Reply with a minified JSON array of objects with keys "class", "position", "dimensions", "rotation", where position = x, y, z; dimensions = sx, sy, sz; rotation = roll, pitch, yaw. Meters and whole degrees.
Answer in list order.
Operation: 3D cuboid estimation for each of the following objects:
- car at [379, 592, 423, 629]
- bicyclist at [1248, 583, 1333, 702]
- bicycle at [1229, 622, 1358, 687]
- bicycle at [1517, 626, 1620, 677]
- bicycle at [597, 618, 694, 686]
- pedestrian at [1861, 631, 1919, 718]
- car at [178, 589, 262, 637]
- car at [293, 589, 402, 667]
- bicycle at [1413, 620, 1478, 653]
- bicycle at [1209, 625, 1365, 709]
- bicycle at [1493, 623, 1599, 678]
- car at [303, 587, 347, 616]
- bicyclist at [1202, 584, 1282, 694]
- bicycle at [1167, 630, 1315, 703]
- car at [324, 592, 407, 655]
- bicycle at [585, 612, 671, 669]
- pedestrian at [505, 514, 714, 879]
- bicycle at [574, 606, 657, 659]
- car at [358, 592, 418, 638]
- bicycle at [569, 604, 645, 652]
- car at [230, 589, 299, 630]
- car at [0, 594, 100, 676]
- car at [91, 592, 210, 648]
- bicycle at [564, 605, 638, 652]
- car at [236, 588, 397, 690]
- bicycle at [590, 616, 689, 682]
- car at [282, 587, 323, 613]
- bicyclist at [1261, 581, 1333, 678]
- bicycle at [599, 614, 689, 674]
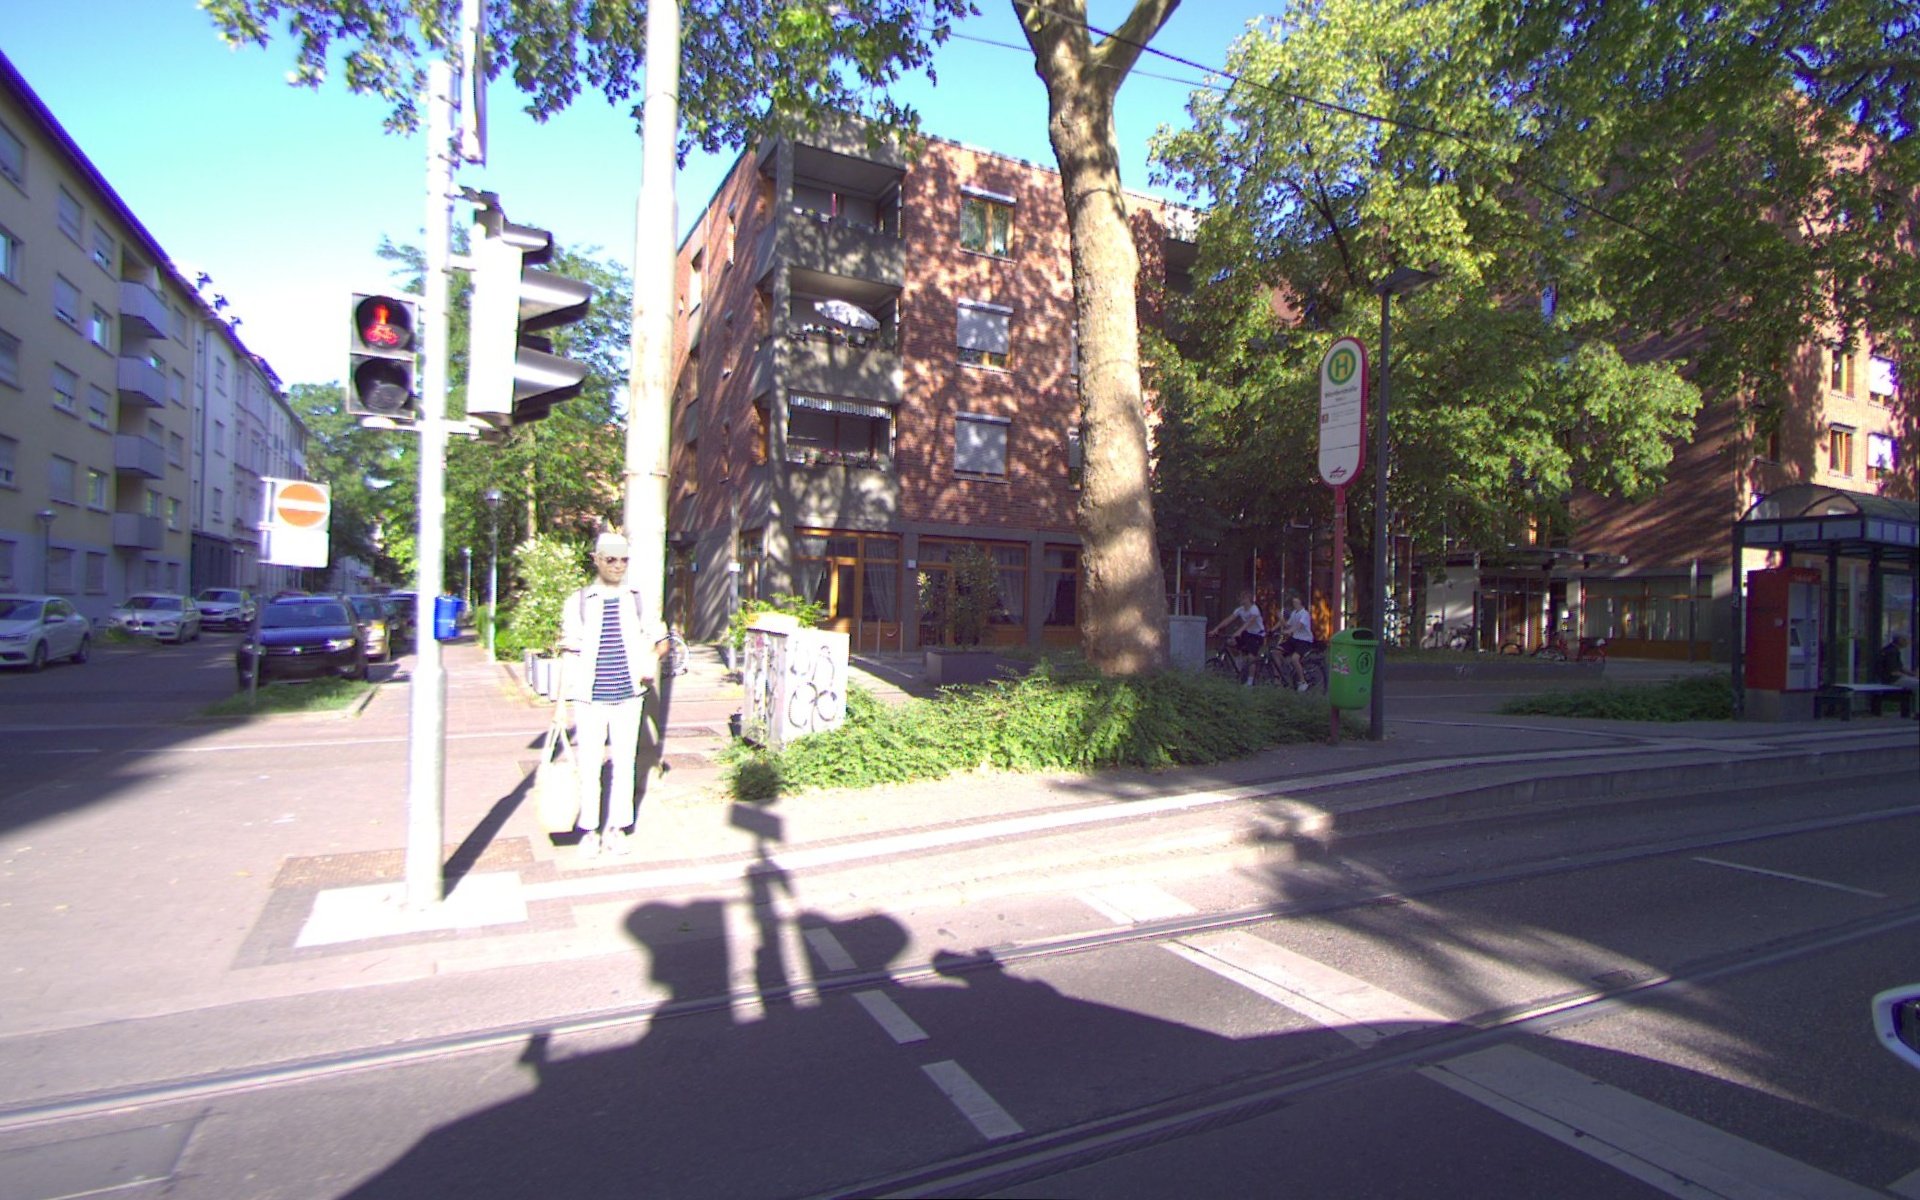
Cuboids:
[{"class":"car","position":[-28.397,0.512,51.122],"dimensions":[1.801,1.728,3.971],"rotation":[2,0,-28]},{"class":"bicyclist","position":[5.135,0.653,15.640],"dimensions":[0.940,1.786,0.778],"rotation":[2,0,-30]},{"class":"bicycle","position":[6.282,1.026,18.850],"dimensions":[2.566,1.125,0.778],"rotation":[2,0,-31]},{"class":"bicycle","position":[16.231,1.355,26.886],"dimensions":[0.673,1.182,2.332],"rotation":[2,1,-26]},{"class":"bicycle","position":[-5.435,0.880,17.395],"dimensions":[1.518,1.099,0.539],"rotation":[-1,2,-29]},{"class":"pedestrian","position":[13.260,1.041,14.146],"dimensions":[0.652,1.184,0.702],"rotation":[2,-2,-30]},{"class":"car","position":[-28.508,0.466,38.812],"dimensions":[1.975,1.706,3.971],"rotation":[2,0,-28]},{"class":"car","position":[-14.635,0.635,24.207],"dimensions":[1.936,1.684,3.971],"rotation":[2,-1,-28]},{"class":"bicycle","position":[17.330,1.296,35.885],"dimensions":[0.760,1.087,1.921],"rotation":[2,0,-43]},{"class":"bicycle","position":[5.118,1.029,15.641],"dimensions":[2.566,1.207,0.778],"rotation":[2,0,-31]},{"class":"bicycle","position":[15.562,1.319,26.765],"dimensions":[0.673,1.235,2.449],"rotation":[2,1,-26]},{"class":"car","position":[-40.831,0.066,64.664],"dimensions":[1.975,1.706,3.971],"rotation":[2,0,-28]},{"class":"bicyclist","position":[4.688,0.639,16.725],"dimensions":[0.986,1.773,0.771],"rotation":[2,0,-30]},{"class":"bicycle","position":[4.709,1.097,16.755],"dimensions":[2.566,1.125,0.778],"rotation":[2,0,-31]},{"class":"car","position":[-17.423,0.648,29.572],"dimensions":[1.845,1.684,3.971],"rotation":[2,0,-28]},{"class":"bicycle","position":[-6.842,0.813,20.707],"dimensions":[1.618,1.099,0.539],"rotation":[-1,2,-29]},{"class":"pedestrian","position":[-2.022,0.497,5.745],"dimensions":[0.910,1.860,0.919],"rotation":[2,0,-31]},{"class":"bicycle","position":[-7.390,0.684,21.589],"dimensions":[1.619,1.099,0.539],"rotation":[1,0,-29]},{"class":"car","position":[-22.023,0.548,38.805],"dimensions":[1.815,1.639,3.971],"rotation":[2,0,-28]},{"class":"bicycle","position":[-8.477,0.666,24.143],"dimensions":[1.619,1.098,0.539],"rotation":[2,0,-29]},{"class":"car","position":[-30.947,0.398,44.798],"dimensions":[1.975,1.706,3.971],"rotation":[2,0,-28]},{"class":"car","position":[-18.824,0.635,19.782],"dimensions":[1.975,1.394,3.971],"rotation":[2,0,-28]},{"class":"car","position":[-24.004,0.562,29.942],"dimensions":[1.975,1.477,3.971],"rotation":[2,0,-28]},{"class":"bicycle","position":[-8.846,0.698,24.766],"dimensions":[1.619,1.098,0.539],"rotation":[2,0,-29]},{"class":"car","position":[-11.008,0.601,17.456],"dimensions":[1.975,1.528,3.971],"rotation":[2,0,-28]},{"class":"bicycle","position":[-5.720,0.860,17.951],"dimensions":[1.618,1.099,0.539],"rotation":[-1,2,-29]},{"class":"car","position":[-46.297,0.000,70.785],"dimensions":[1.975,1.706,3.971],"rotation":[2,0,-28]},{"class":"bicyclist","position":[6.332,0.546,18.874],"dimensions":[0.986,1.773,0.770],"rotation":[2,0,-31]},{"class":"bicycle","position":[-6.170,0.842,19.627],"dimensions":[1.618,1.099,0.539],"rotation":[0,1,-29]}]
